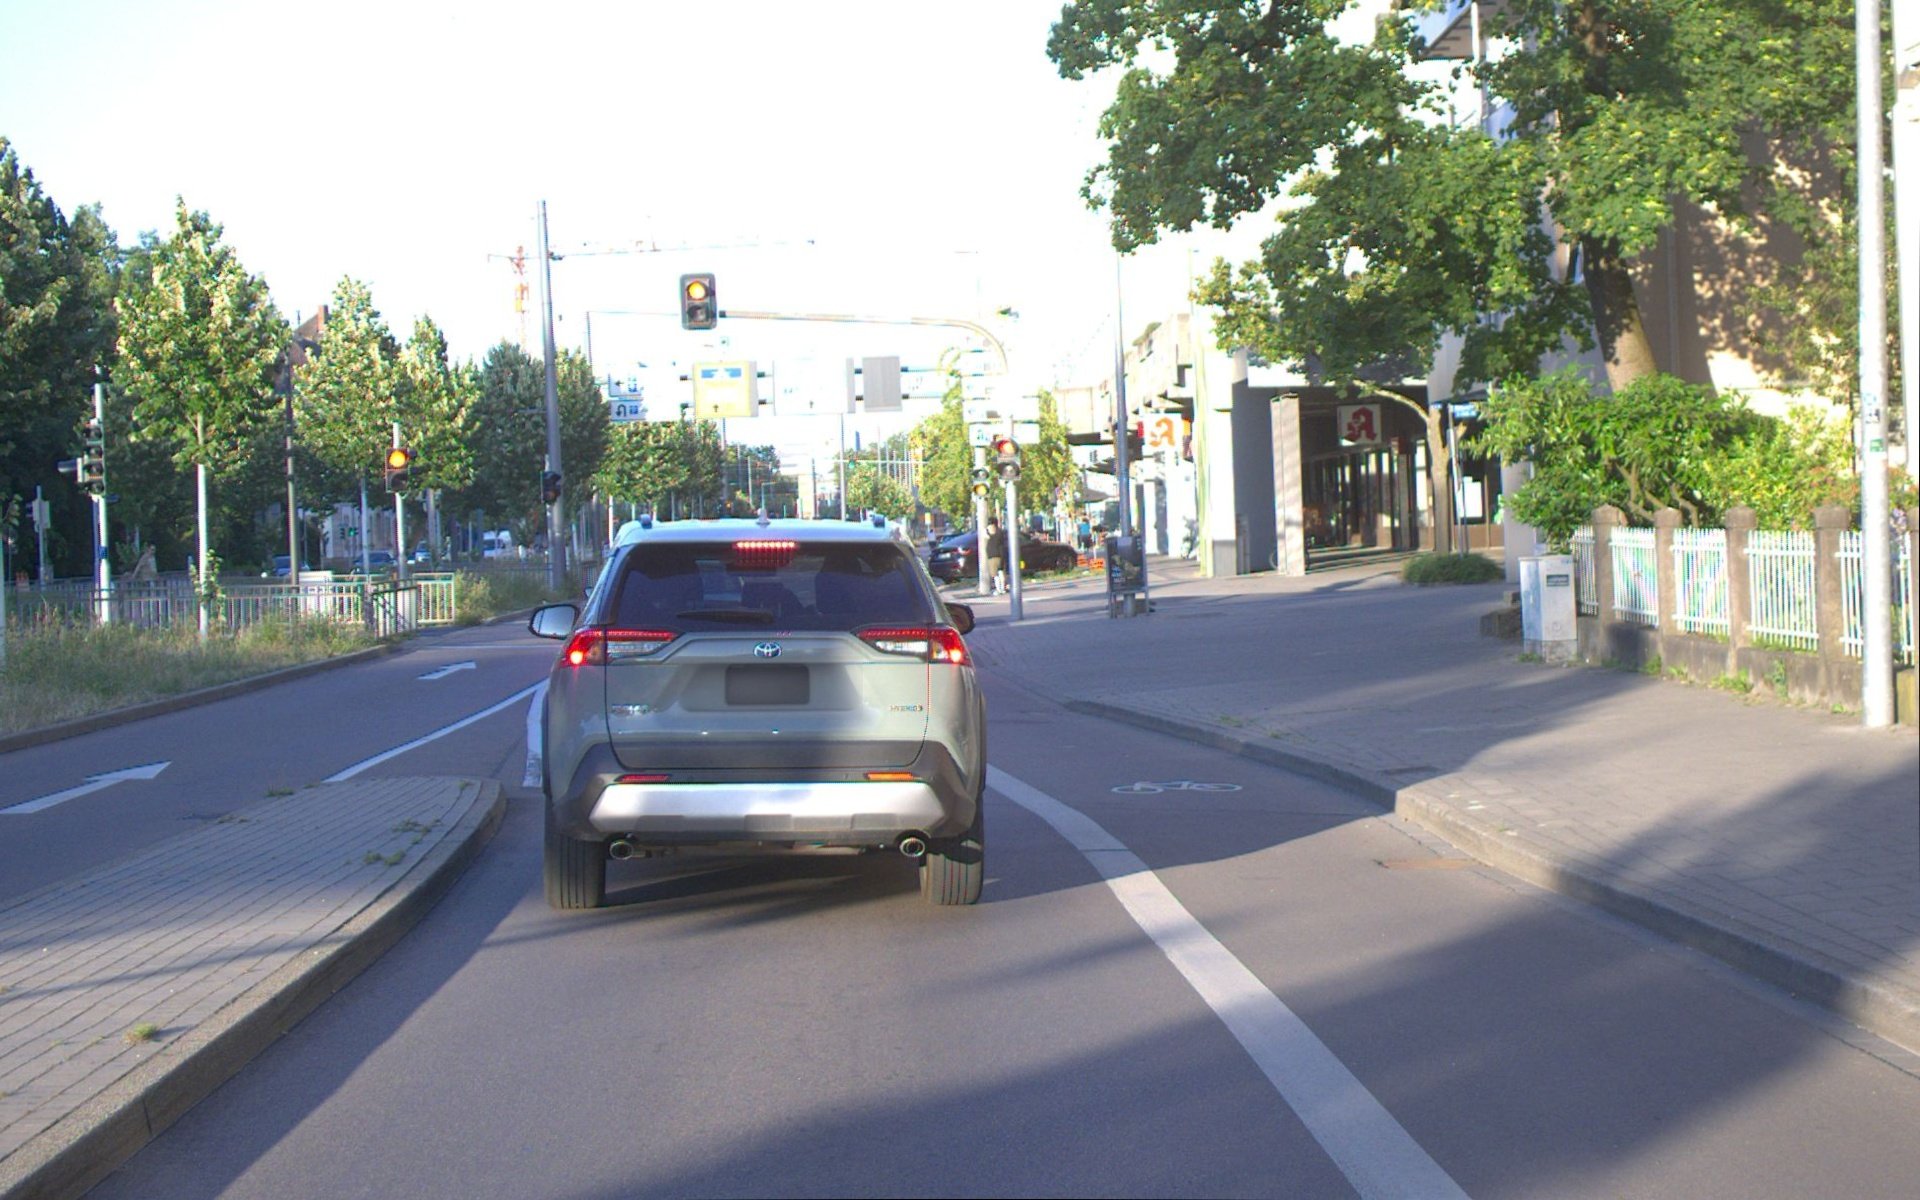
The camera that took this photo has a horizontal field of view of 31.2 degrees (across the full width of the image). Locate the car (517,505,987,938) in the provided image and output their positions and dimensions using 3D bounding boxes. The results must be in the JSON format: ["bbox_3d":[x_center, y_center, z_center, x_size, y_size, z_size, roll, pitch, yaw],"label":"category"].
[{"bbox_3d":[-0.916,0.434,15.696,1.857,1.708,4.193,0,1,-3],"label":"car"}]

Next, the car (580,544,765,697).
[{"bbox_3d":[-3.070,0.172,37.370,1.857,1.546,4.110,0,1,-3],"label":"car"}]
